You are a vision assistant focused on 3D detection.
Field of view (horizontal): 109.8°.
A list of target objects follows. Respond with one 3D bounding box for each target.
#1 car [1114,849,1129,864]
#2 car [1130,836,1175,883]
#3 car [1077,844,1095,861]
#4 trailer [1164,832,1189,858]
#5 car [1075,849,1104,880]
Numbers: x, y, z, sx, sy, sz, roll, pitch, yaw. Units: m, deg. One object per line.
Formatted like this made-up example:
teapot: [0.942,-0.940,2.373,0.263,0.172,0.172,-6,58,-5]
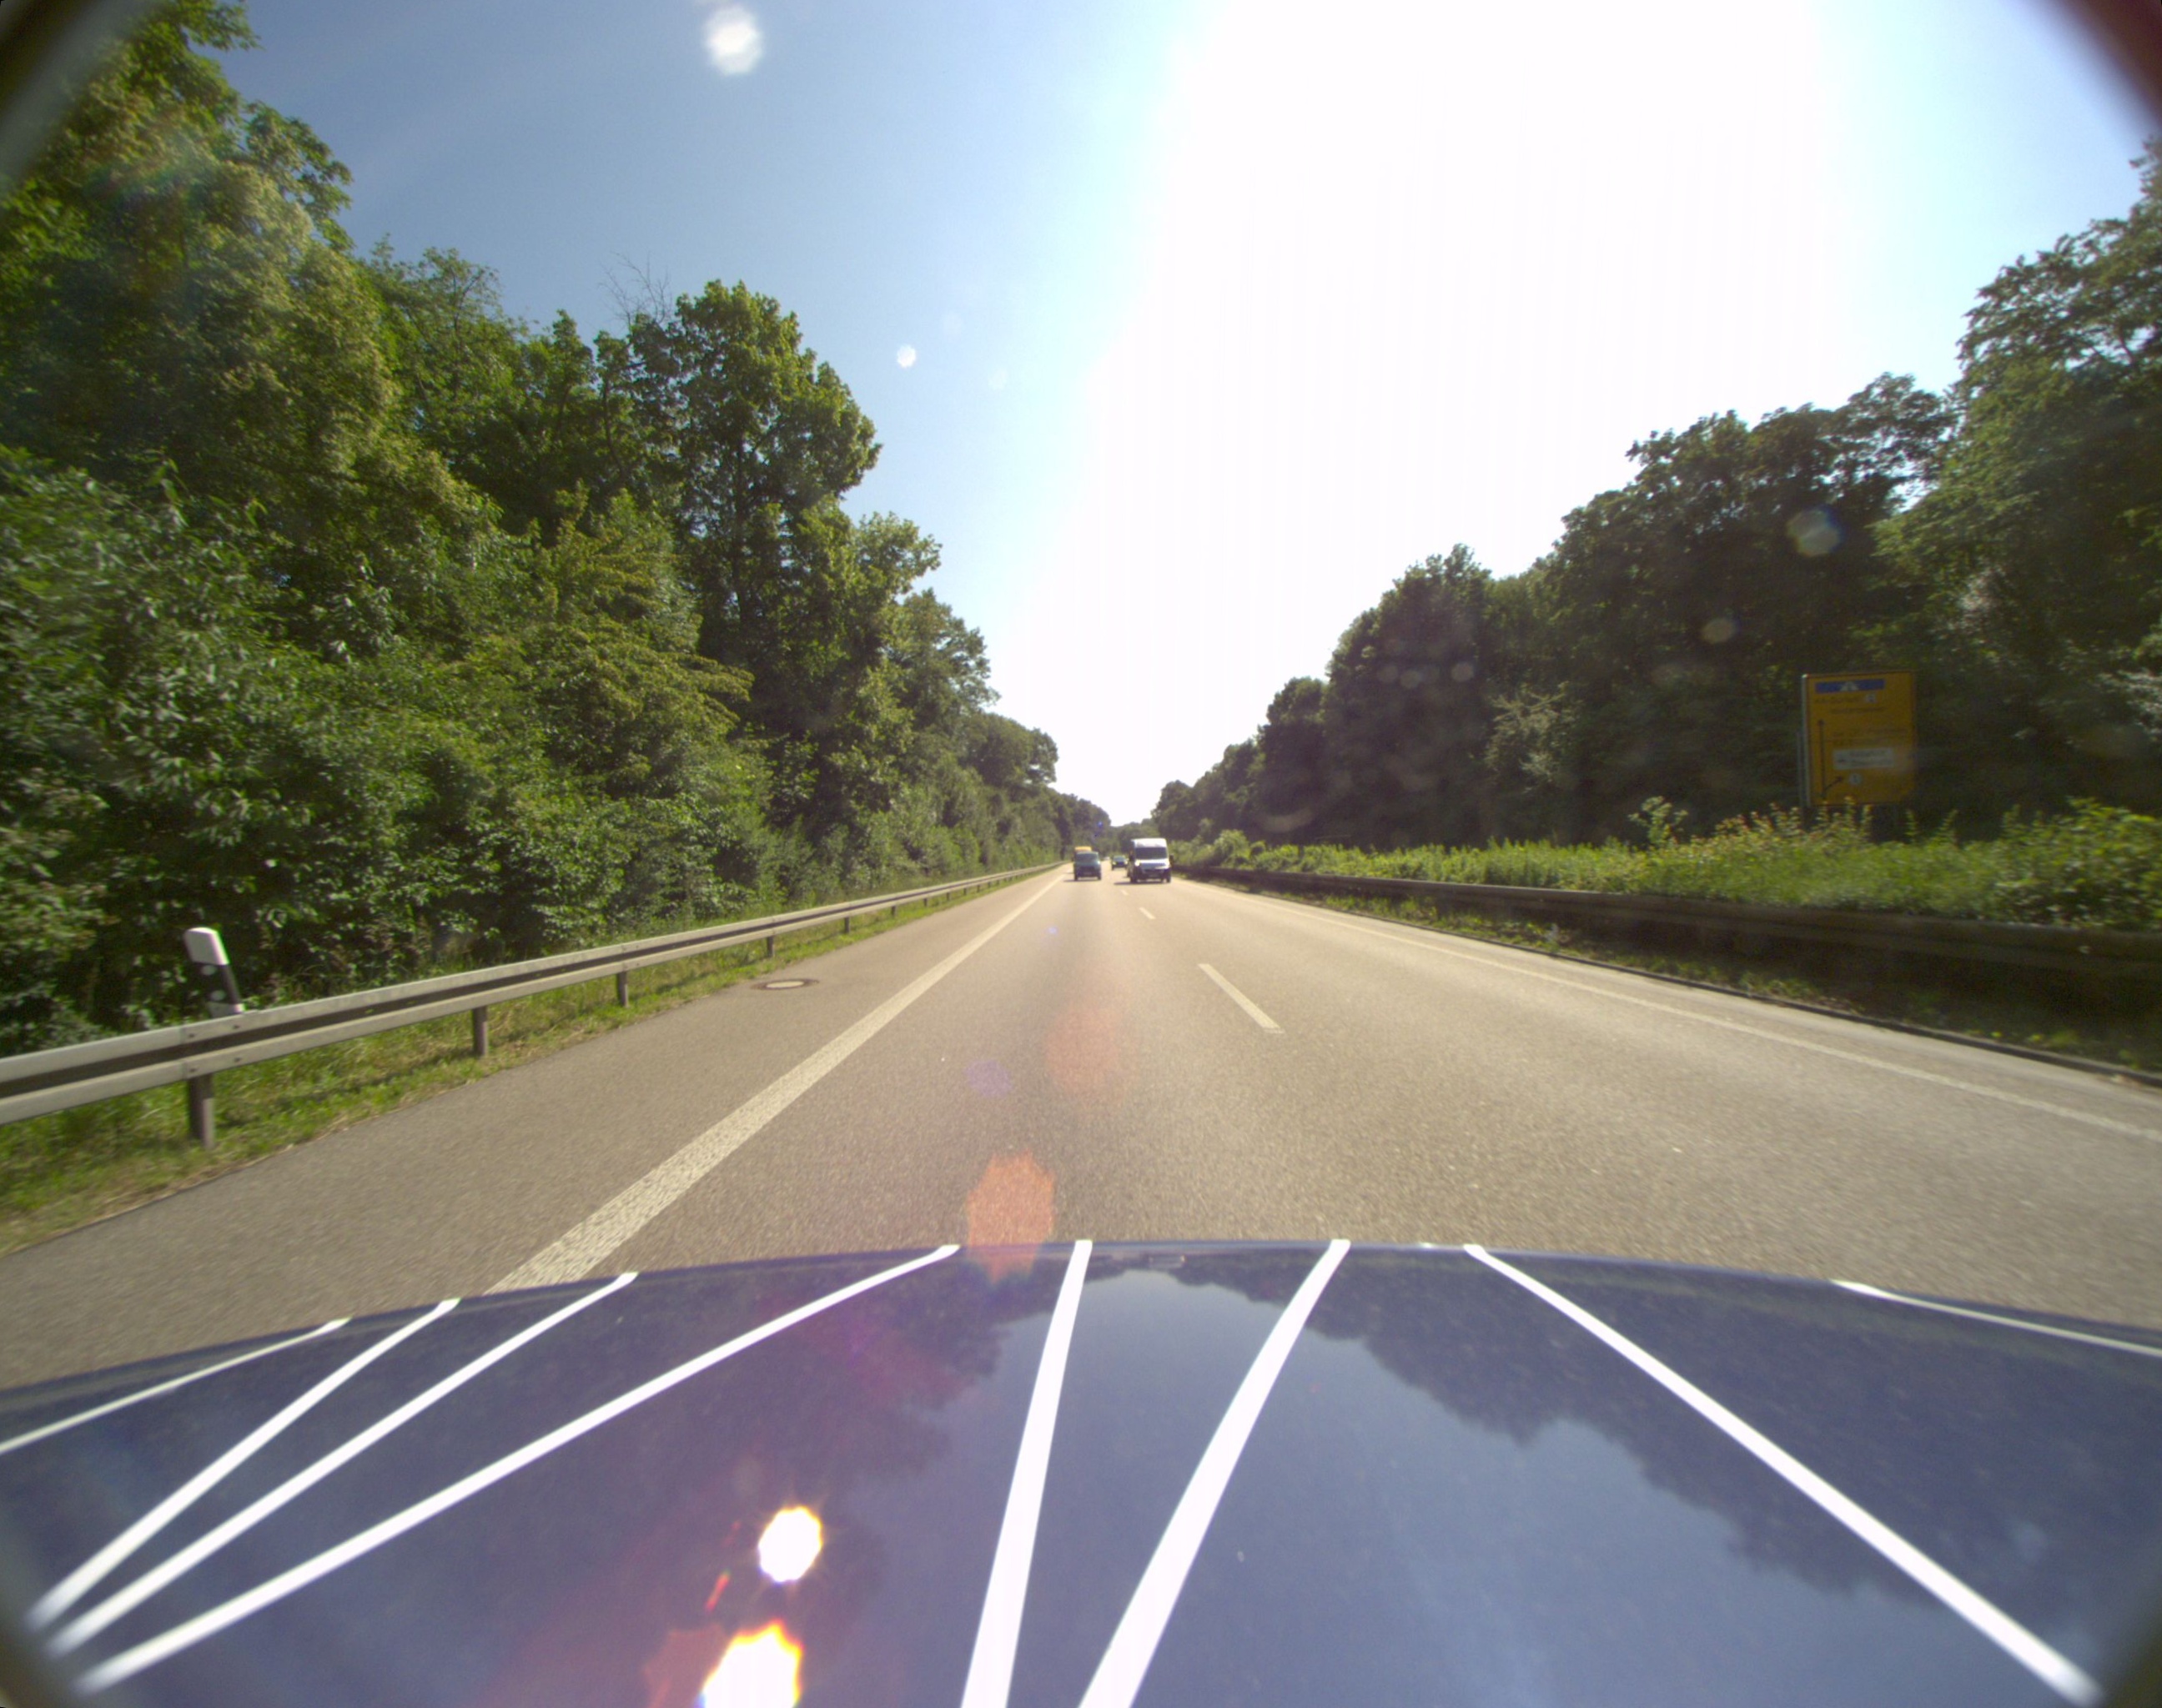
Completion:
car: [4.603,0.288,86.635,1.517,1.624,3.611,-2,0,1]
car: [3.964,0.292,42.910,2.046,2.429,4.637,-2,1,1]
car: [0.545,-0.181,78.643,1.737,1.624,3.899,-2,0,1]
trailer: [17.086,-1.621,137.282,2.836,4.274,13.663,-2,0,1]
car: [0.558,0.661,51.536,1.812,1.921,4.581,-2,0,1]
